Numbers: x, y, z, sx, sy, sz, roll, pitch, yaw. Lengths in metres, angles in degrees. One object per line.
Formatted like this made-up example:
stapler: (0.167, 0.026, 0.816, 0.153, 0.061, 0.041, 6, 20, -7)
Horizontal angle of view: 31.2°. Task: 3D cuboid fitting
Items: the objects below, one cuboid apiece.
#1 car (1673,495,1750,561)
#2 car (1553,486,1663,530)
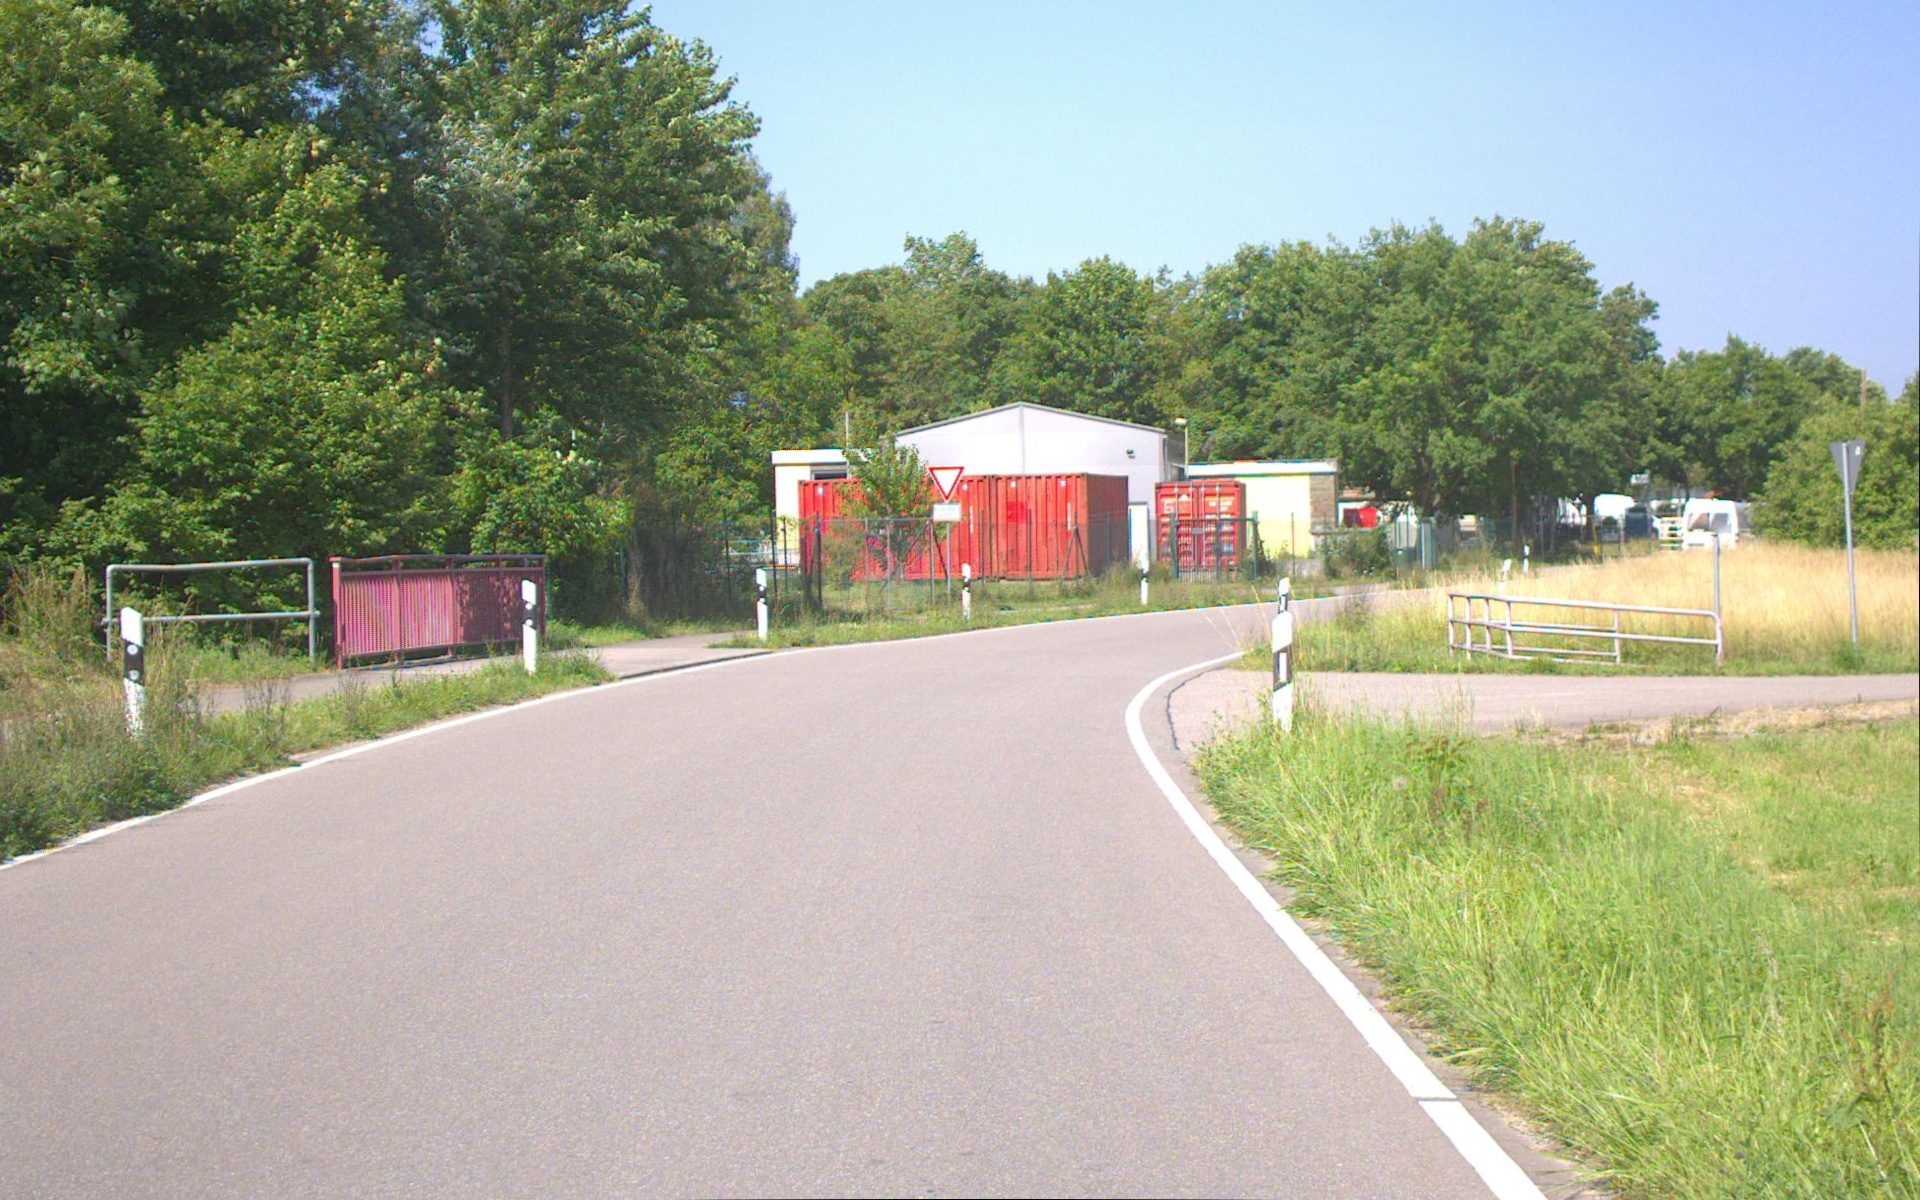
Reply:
car: (26.688, -2.580, 121.959, 1.995, 2.258, 4.721, -1, 1, 20)
car: (35.090, -4.966, 186.155, 5.593, 2.258, 2.001, -2, 1, -18)
